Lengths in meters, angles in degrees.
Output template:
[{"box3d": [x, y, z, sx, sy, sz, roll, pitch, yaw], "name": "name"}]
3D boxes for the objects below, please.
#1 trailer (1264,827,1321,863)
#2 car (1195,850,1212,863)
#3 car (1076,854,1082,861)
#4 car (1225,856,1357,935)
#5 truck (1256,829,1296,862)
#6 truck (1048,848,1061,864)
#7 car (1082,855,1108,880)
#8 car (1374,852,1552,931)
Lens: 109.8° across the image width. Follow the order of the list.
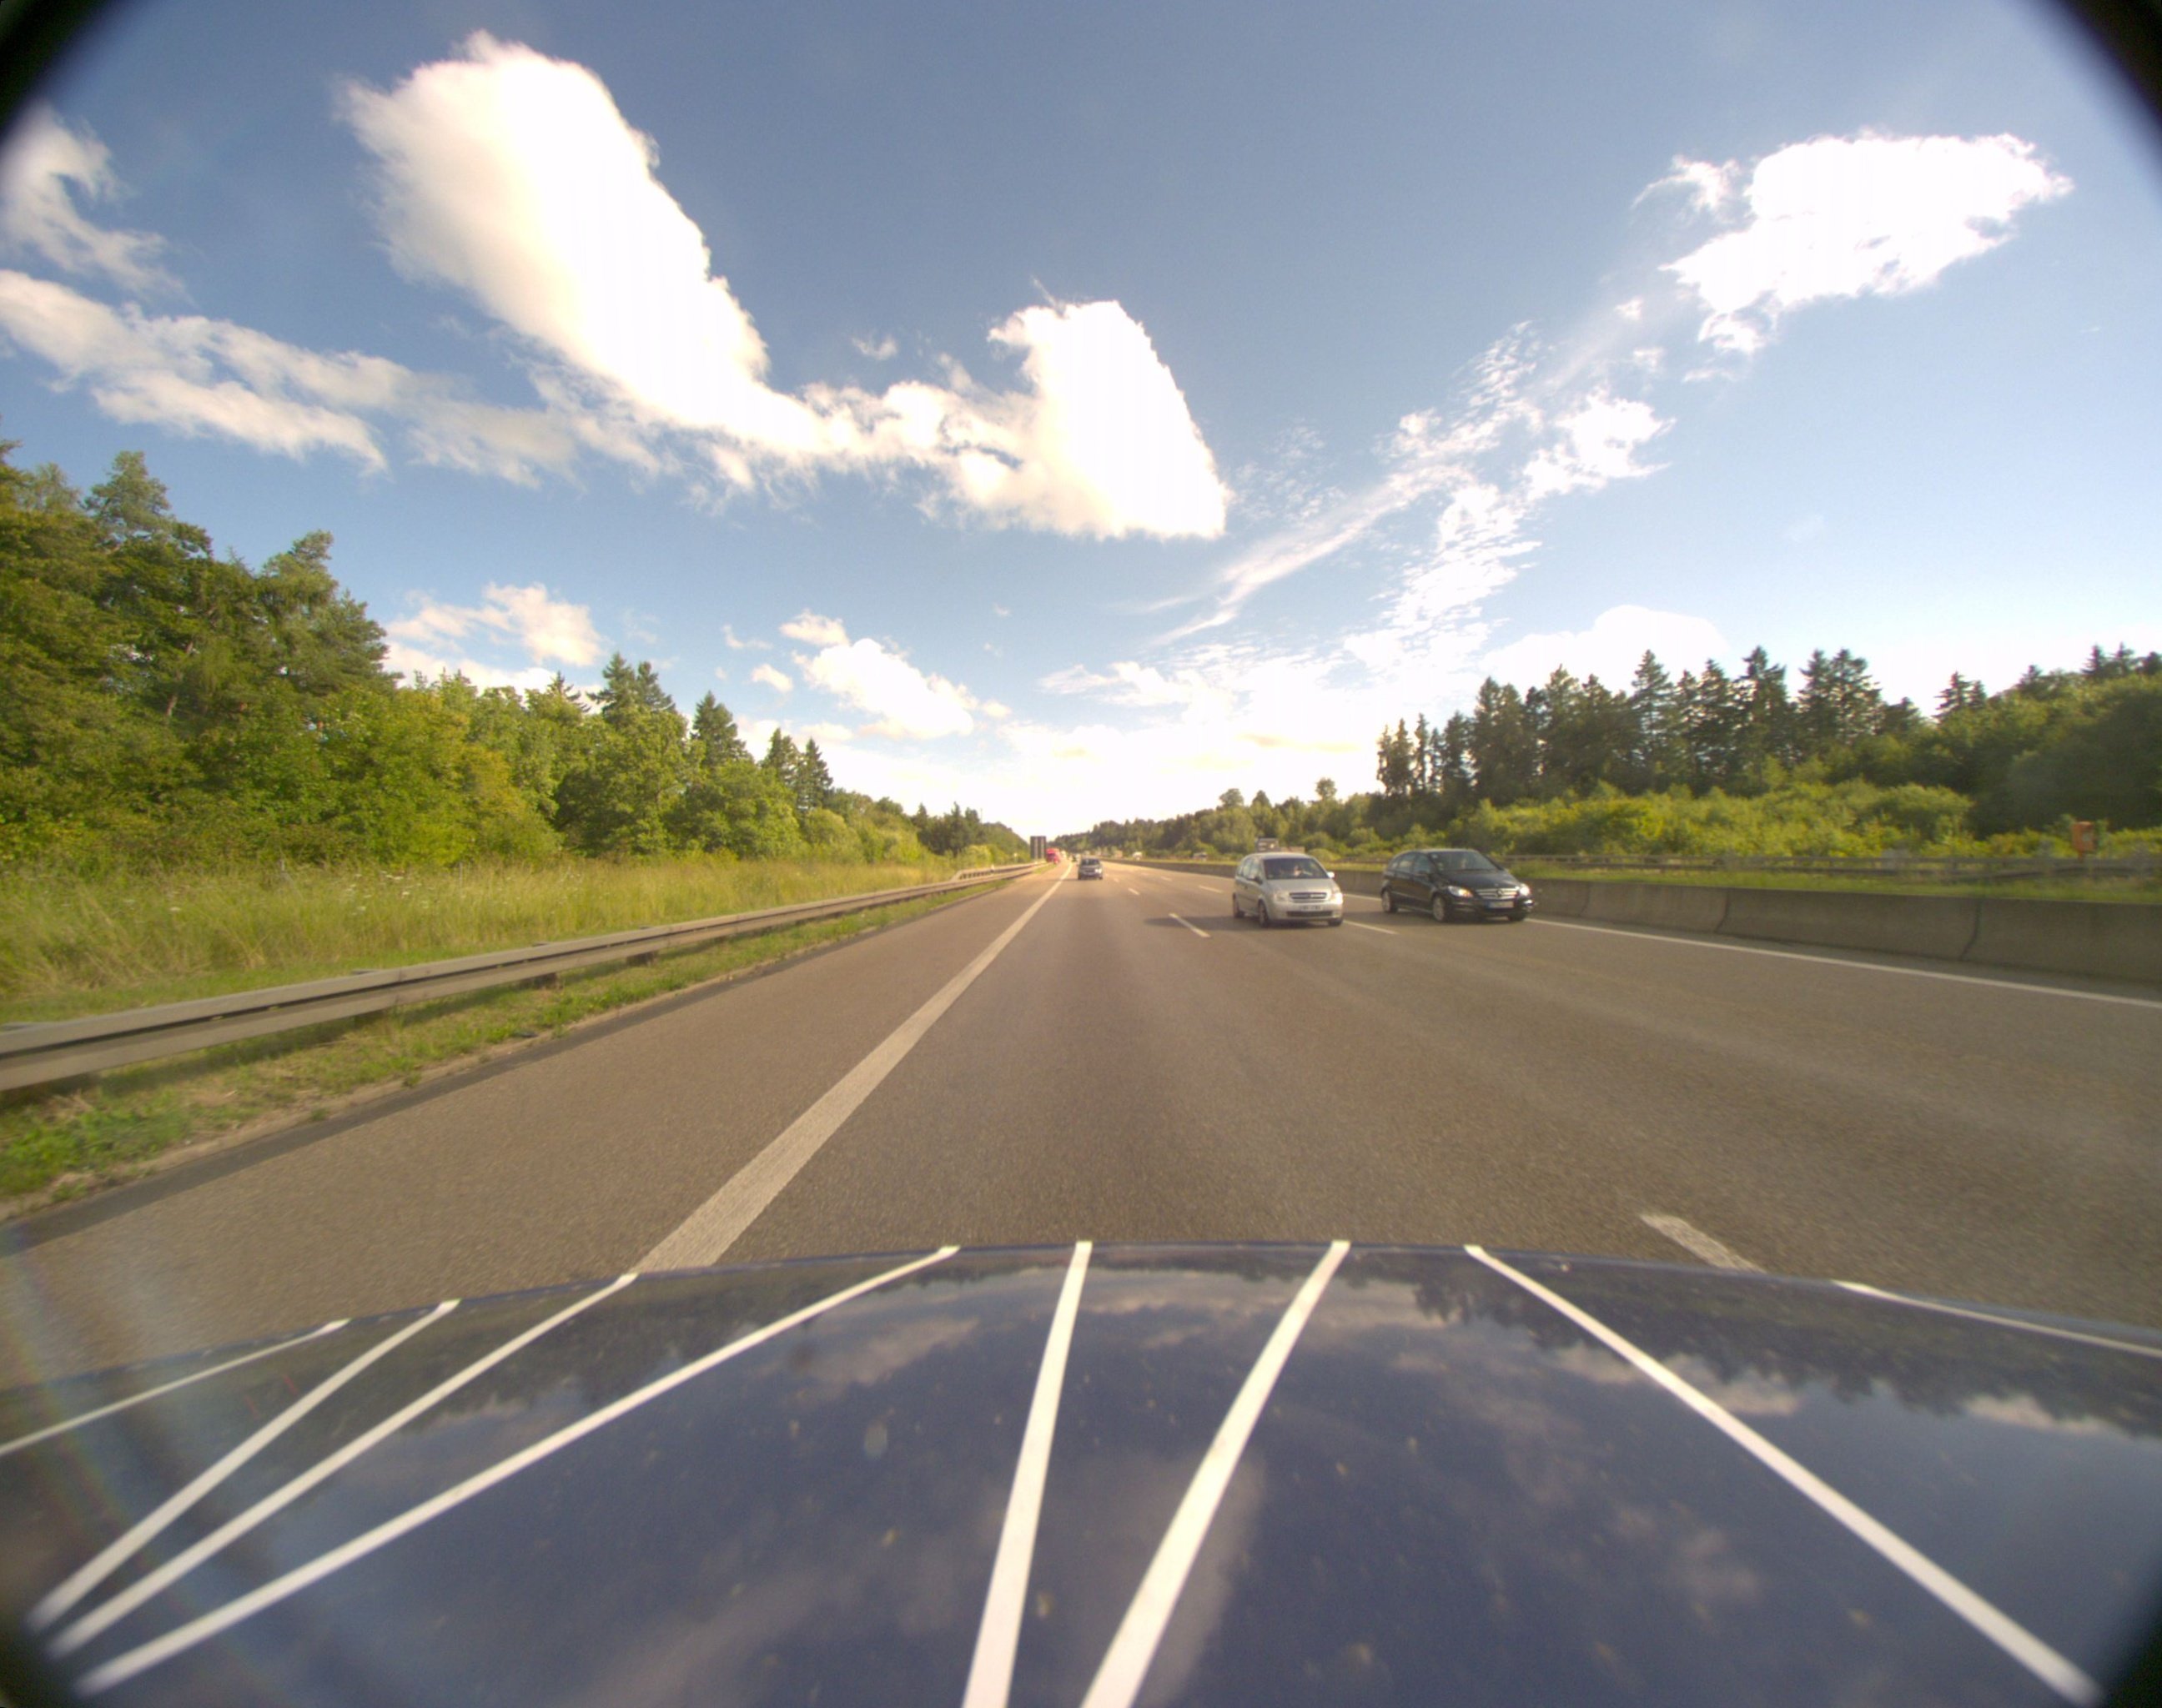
[{"box3d": [23.936, -0.948, 86.909, 3.132, 3.815, 12.209, -1, 0, 0], "name": "trailer"}, {"box3d": [19.947, 0.414, 124.106, 1.998, 2.002, 4.859, -1, 0, 1], "name": "car"}, {"box3d": [-0.582, 1.251, 255.824, 1.998, 2.124, 4.000, -1, 0, 1], "name": "car"}, {"box3d": [4.598, 0.829, 17.308, 1.840, 1.508, 4.333, -1, 0, 1], "name": "car"}, {"box3d": [23.973, -0.969, 93.824, 3.122, 3.815, 7.123, -1, 0, 0], "name": "truck"}, {"box3d": [-6.789, 0.560, 196.161, 2.880, 3.871, 8.958, -2, 0, 0], "name": "truck"}, {"box3d": [0.990, 0.935, 54.264, 1.742, 1.608, 4.083, -1, 0, 1], "name": "car"}, {"box3d": [8.355, 0.733, 17.126, 1.840, 1.508, 4.333, -1, 0, 1], "name": "car"}]
